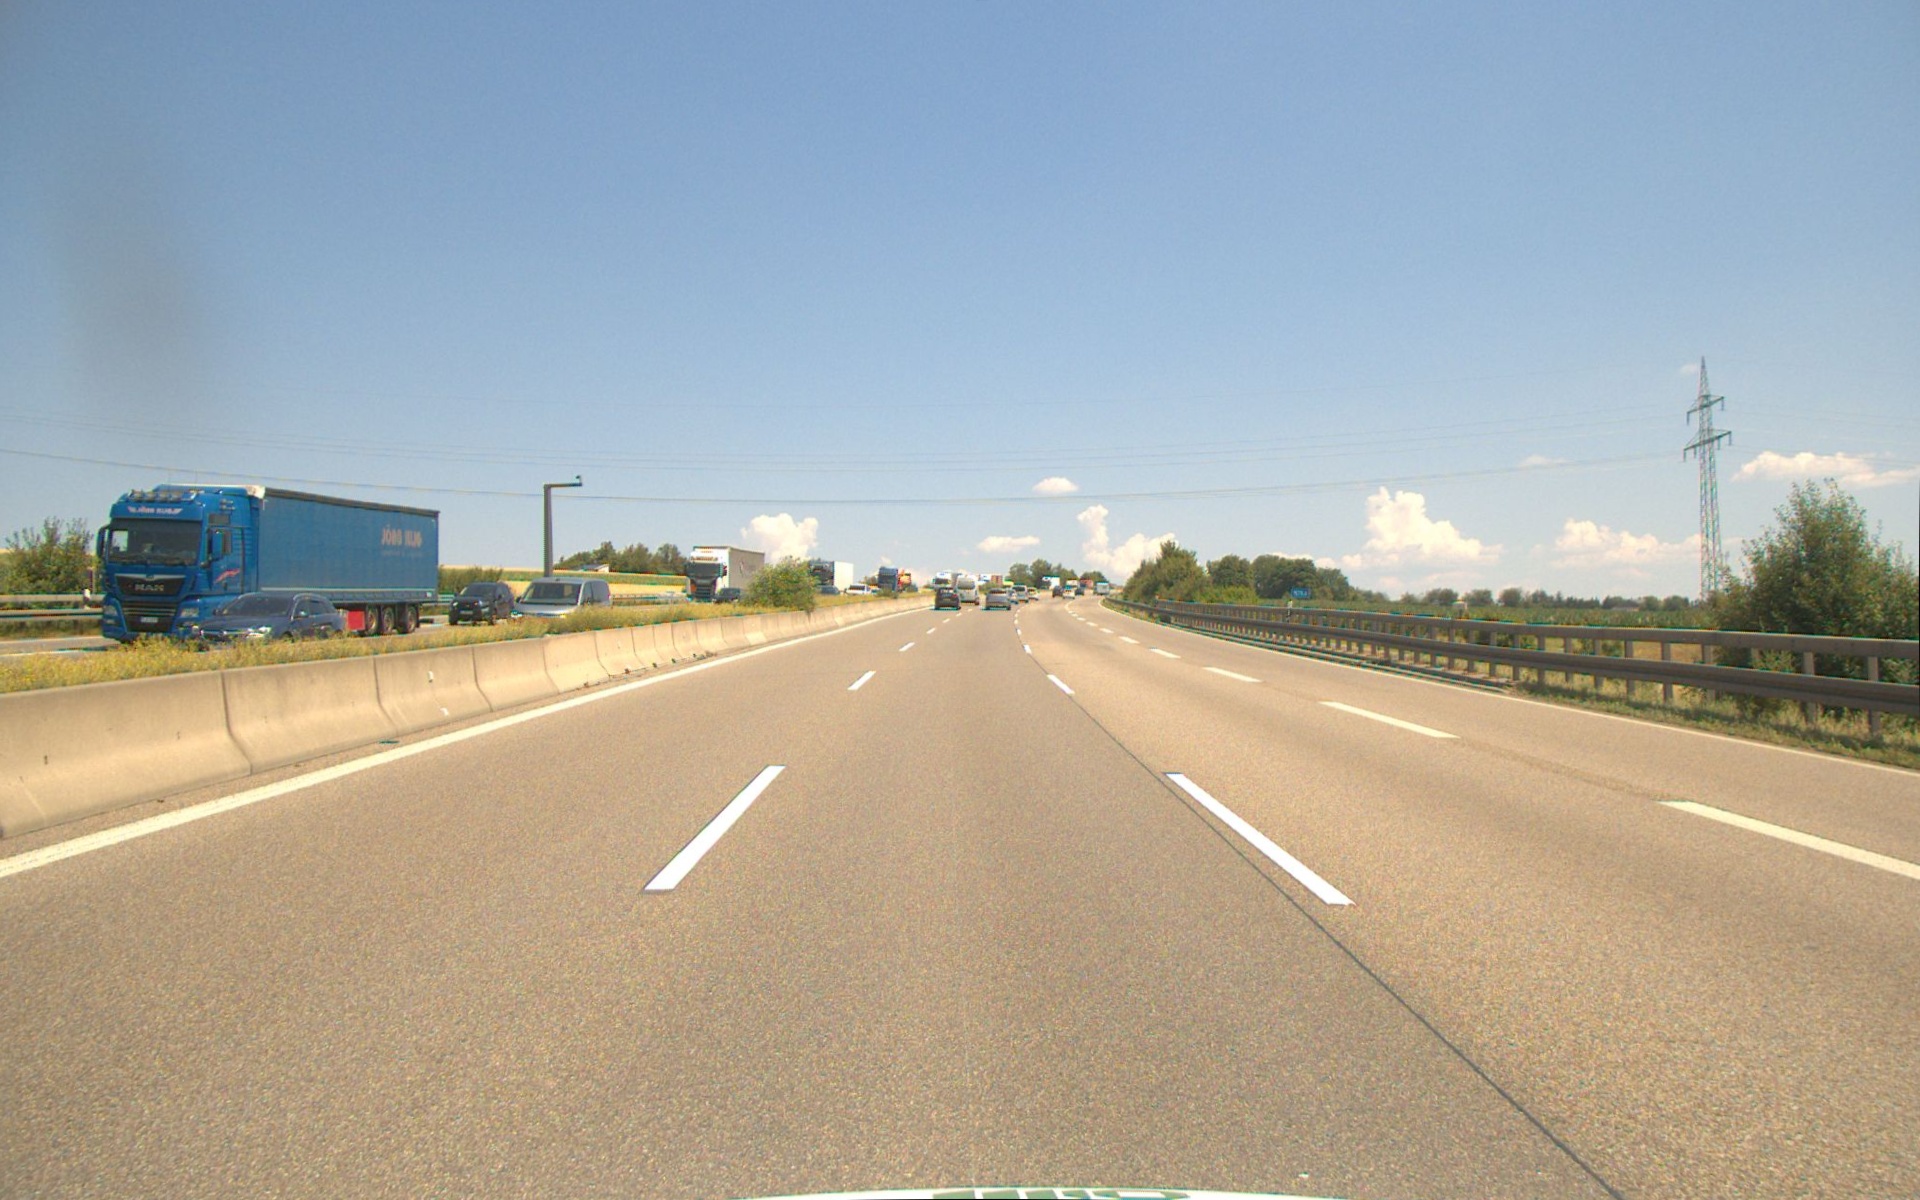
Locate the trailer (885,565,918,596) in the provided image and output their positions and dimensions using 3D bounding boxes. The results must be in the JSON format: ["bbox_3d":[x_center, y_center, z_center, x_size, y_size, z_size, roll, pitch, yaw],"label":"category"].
[{"bbox_3d":[-7.868,-2.588,223.360,2.779,4.027,13.735,1,0,5],"label":"trailer"}]

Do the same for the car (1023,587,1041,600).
[{"bbox_3d":[9.303,-0.877,213.488,1.951,1.579,4.003,2,1,5],"label":"car"}]

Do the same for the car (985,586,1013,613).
[{"bbox_3d":[2.842,-0.034,121.081,1.952,1.781,3.999,1,-2,1],"label":"car"}]

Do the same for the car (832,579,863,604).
[{"bbox_3d":[-9.222,-0.706,136.073,1.952,1.937,5.678,1,0,2],"label":"car"}]

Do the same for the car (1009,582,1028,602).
[{"bbox_3d":[6.421,-0.865,181.347,1.952,1.937,4.000,1,-2,1],"label":"car"}]

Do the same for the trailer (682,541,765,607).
[{"bbox_3d":[-16.865,-1.742,119.228,3.058,4.400,14.550,1,0,3],"label":"trailer"}]

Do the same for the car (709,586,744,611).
[{"bbox_3d":[-13.675,-0.109,96.940,1.591,1.428,3.729,1,1,-2],"label":"car"}]

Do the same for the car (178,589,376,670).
[{"bbox_3d":[-14.428,0.572,35.342,1.874,1.568,5.742,1,0,-1],"label":"car"}]

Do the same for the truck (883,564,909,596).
[{"bbox_3d":[-8.396,-2.618,216.943,2.718,4.006,6.141,1,0,4],"label":"truck"}]

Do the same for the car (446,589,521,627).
[{"bbox_3d":[-18.713,0.294,65.074,1.623,1.409,4.350,1,0,1],"label":"car"}]

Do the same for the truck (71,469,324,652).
[{"bbox_3d":[-18.842,-0.908,41.455,3.013,4.161,6.935,1,0,0],"label":"truck"}]

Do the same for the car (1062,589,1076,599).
[{"bbox_3d":[16.188,-0.854,245.278,1.862,1.467,4.003,1,0,5],"label":"car"}]

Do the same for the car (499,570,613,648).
[{"bbox_3d":[-11.160,0.235,46.075,1.874,2.004,5.446,1,0,-1],"label":"car"}]

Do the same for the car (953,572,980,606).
[{"bbox_3d":[0.599,-0.956,145.835,2.134,2.671,4.673,1,-2,3],"label":"car"}]

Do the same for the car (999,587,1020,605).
[{"bbox_3d":[4.856,-0.375,162.881,1.953,1.613,3.999,0,-1,-1],"label":"car"}]

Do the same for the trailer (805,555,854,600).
[{"bbox_3d":[-13.558,-2.276,173.143,3.174,4.464,14.034,1,0,3],"label":"trailer"}]

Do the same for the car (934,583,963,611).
[{"bbox_3d":[-0.812,-0.235,118.702,1.809,1.893,4.207,1,1,2],"label":"car"}]

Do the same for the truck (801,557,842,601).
[{"bbox_3d":[-13.893,-2.087,166.510,3.159,4.280,7.129,1,0,3],"label":"truck"}]

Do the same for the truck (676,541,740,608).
[{"bbox_3d":[-17.175,-1.723,113.013,3.067,4.403,6.149,1,0,3],"label":"truck"}]

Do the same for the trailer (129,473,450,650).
[{"bbox_3d":[-18.731,-0.941,47.919,3.096,4.267,14.381,2,0,1],"label":"trailer"}]
